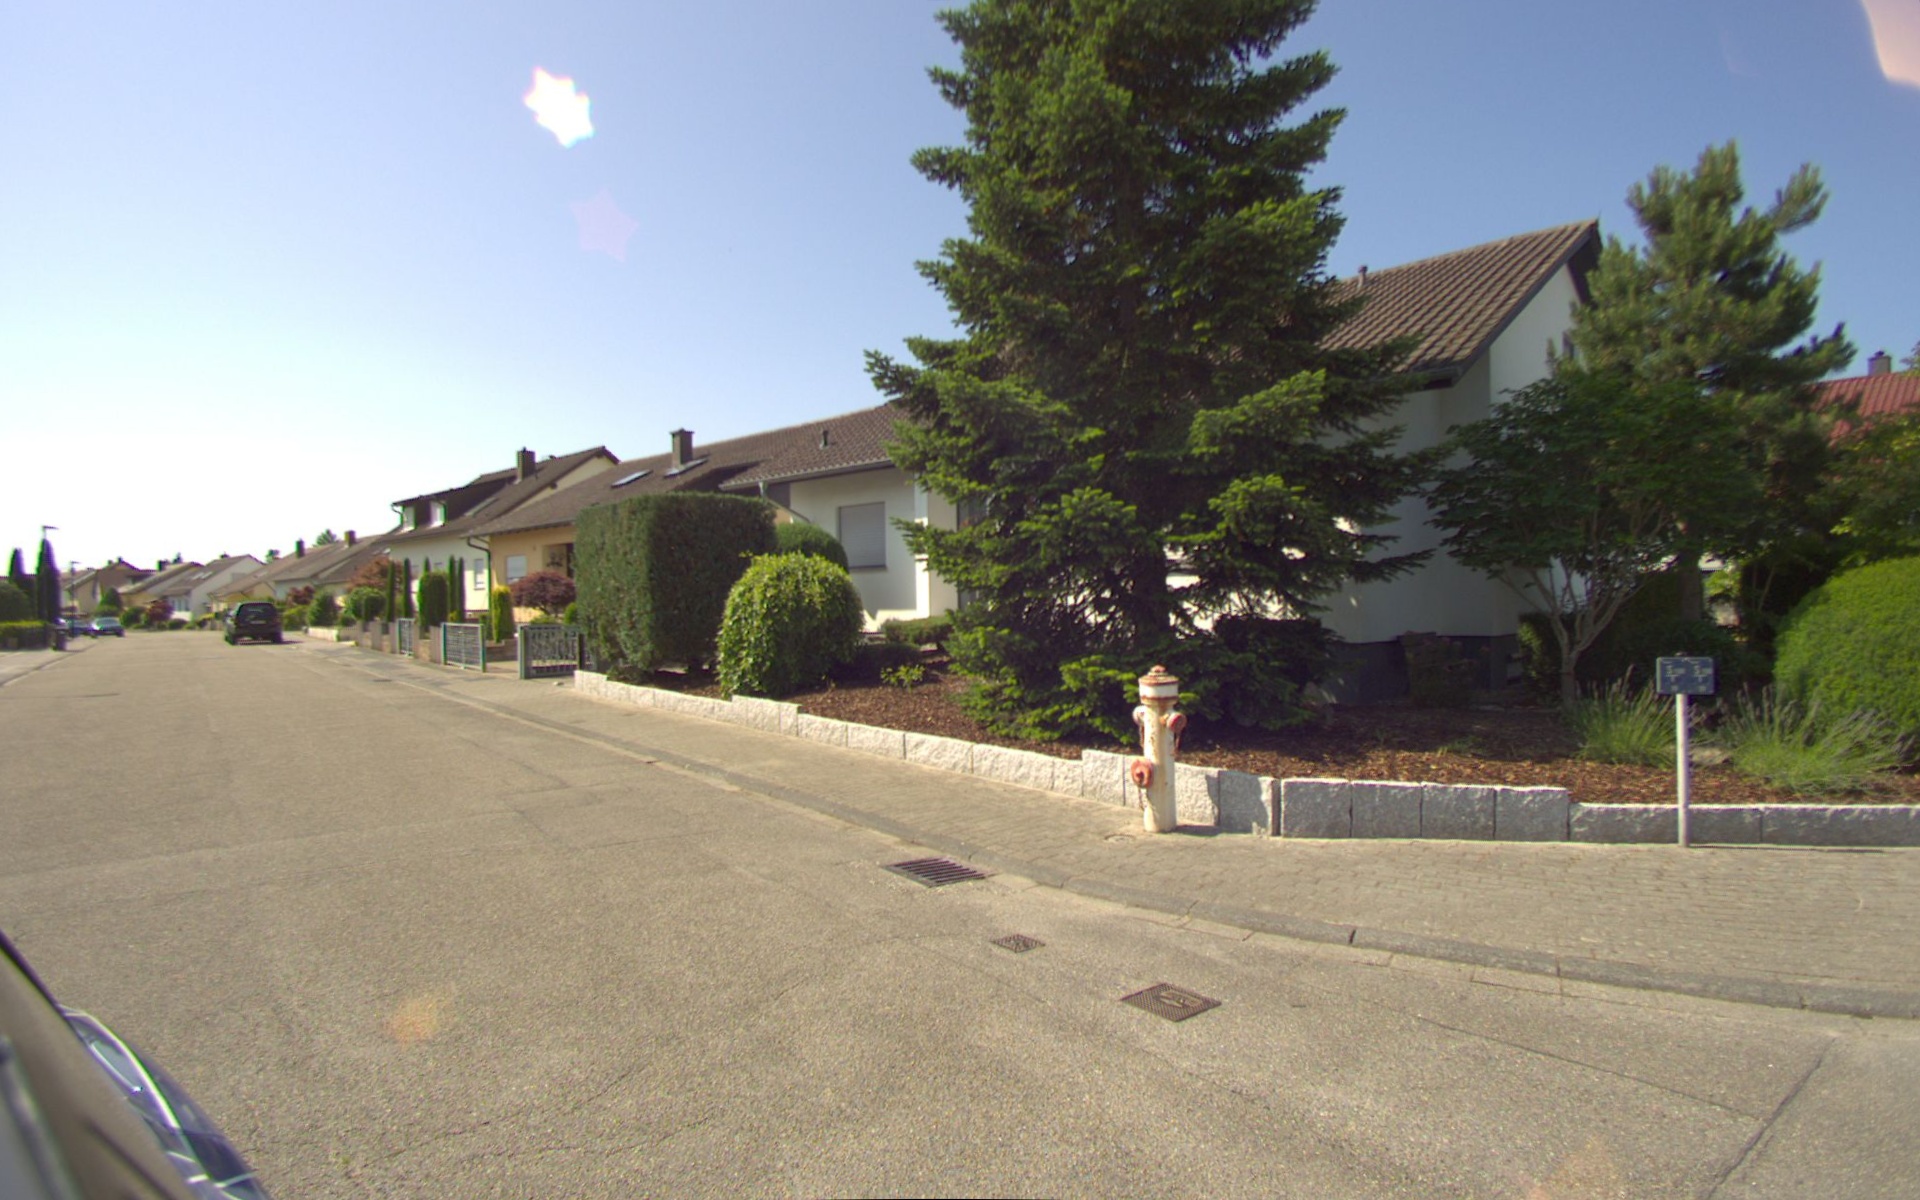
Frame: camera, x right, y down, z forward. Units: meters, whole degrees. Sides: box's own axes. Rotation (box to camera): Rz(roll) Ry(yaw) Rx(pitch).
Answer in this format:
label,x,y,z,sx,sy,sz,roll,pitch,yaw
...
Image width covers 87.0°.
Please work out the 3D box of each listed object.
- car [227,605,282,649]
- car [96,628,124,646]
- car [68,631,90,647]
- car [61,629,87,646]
label,x,y,z,sx,sy,sz,roll,pitch,yaw
car,-30.530,1.144,43.756,1.742,1.791,3.660,-1,0,-38
car,-63.136,2.732,75.153,1.438,1.287,3.106,0,-1,-44
car,-79.507,3.503,91.342,1.438,1.287,3.107,0,-1,-43
car,-73.017,3.072,83.411,1.438,1.287,3.105,0,-1,-45
